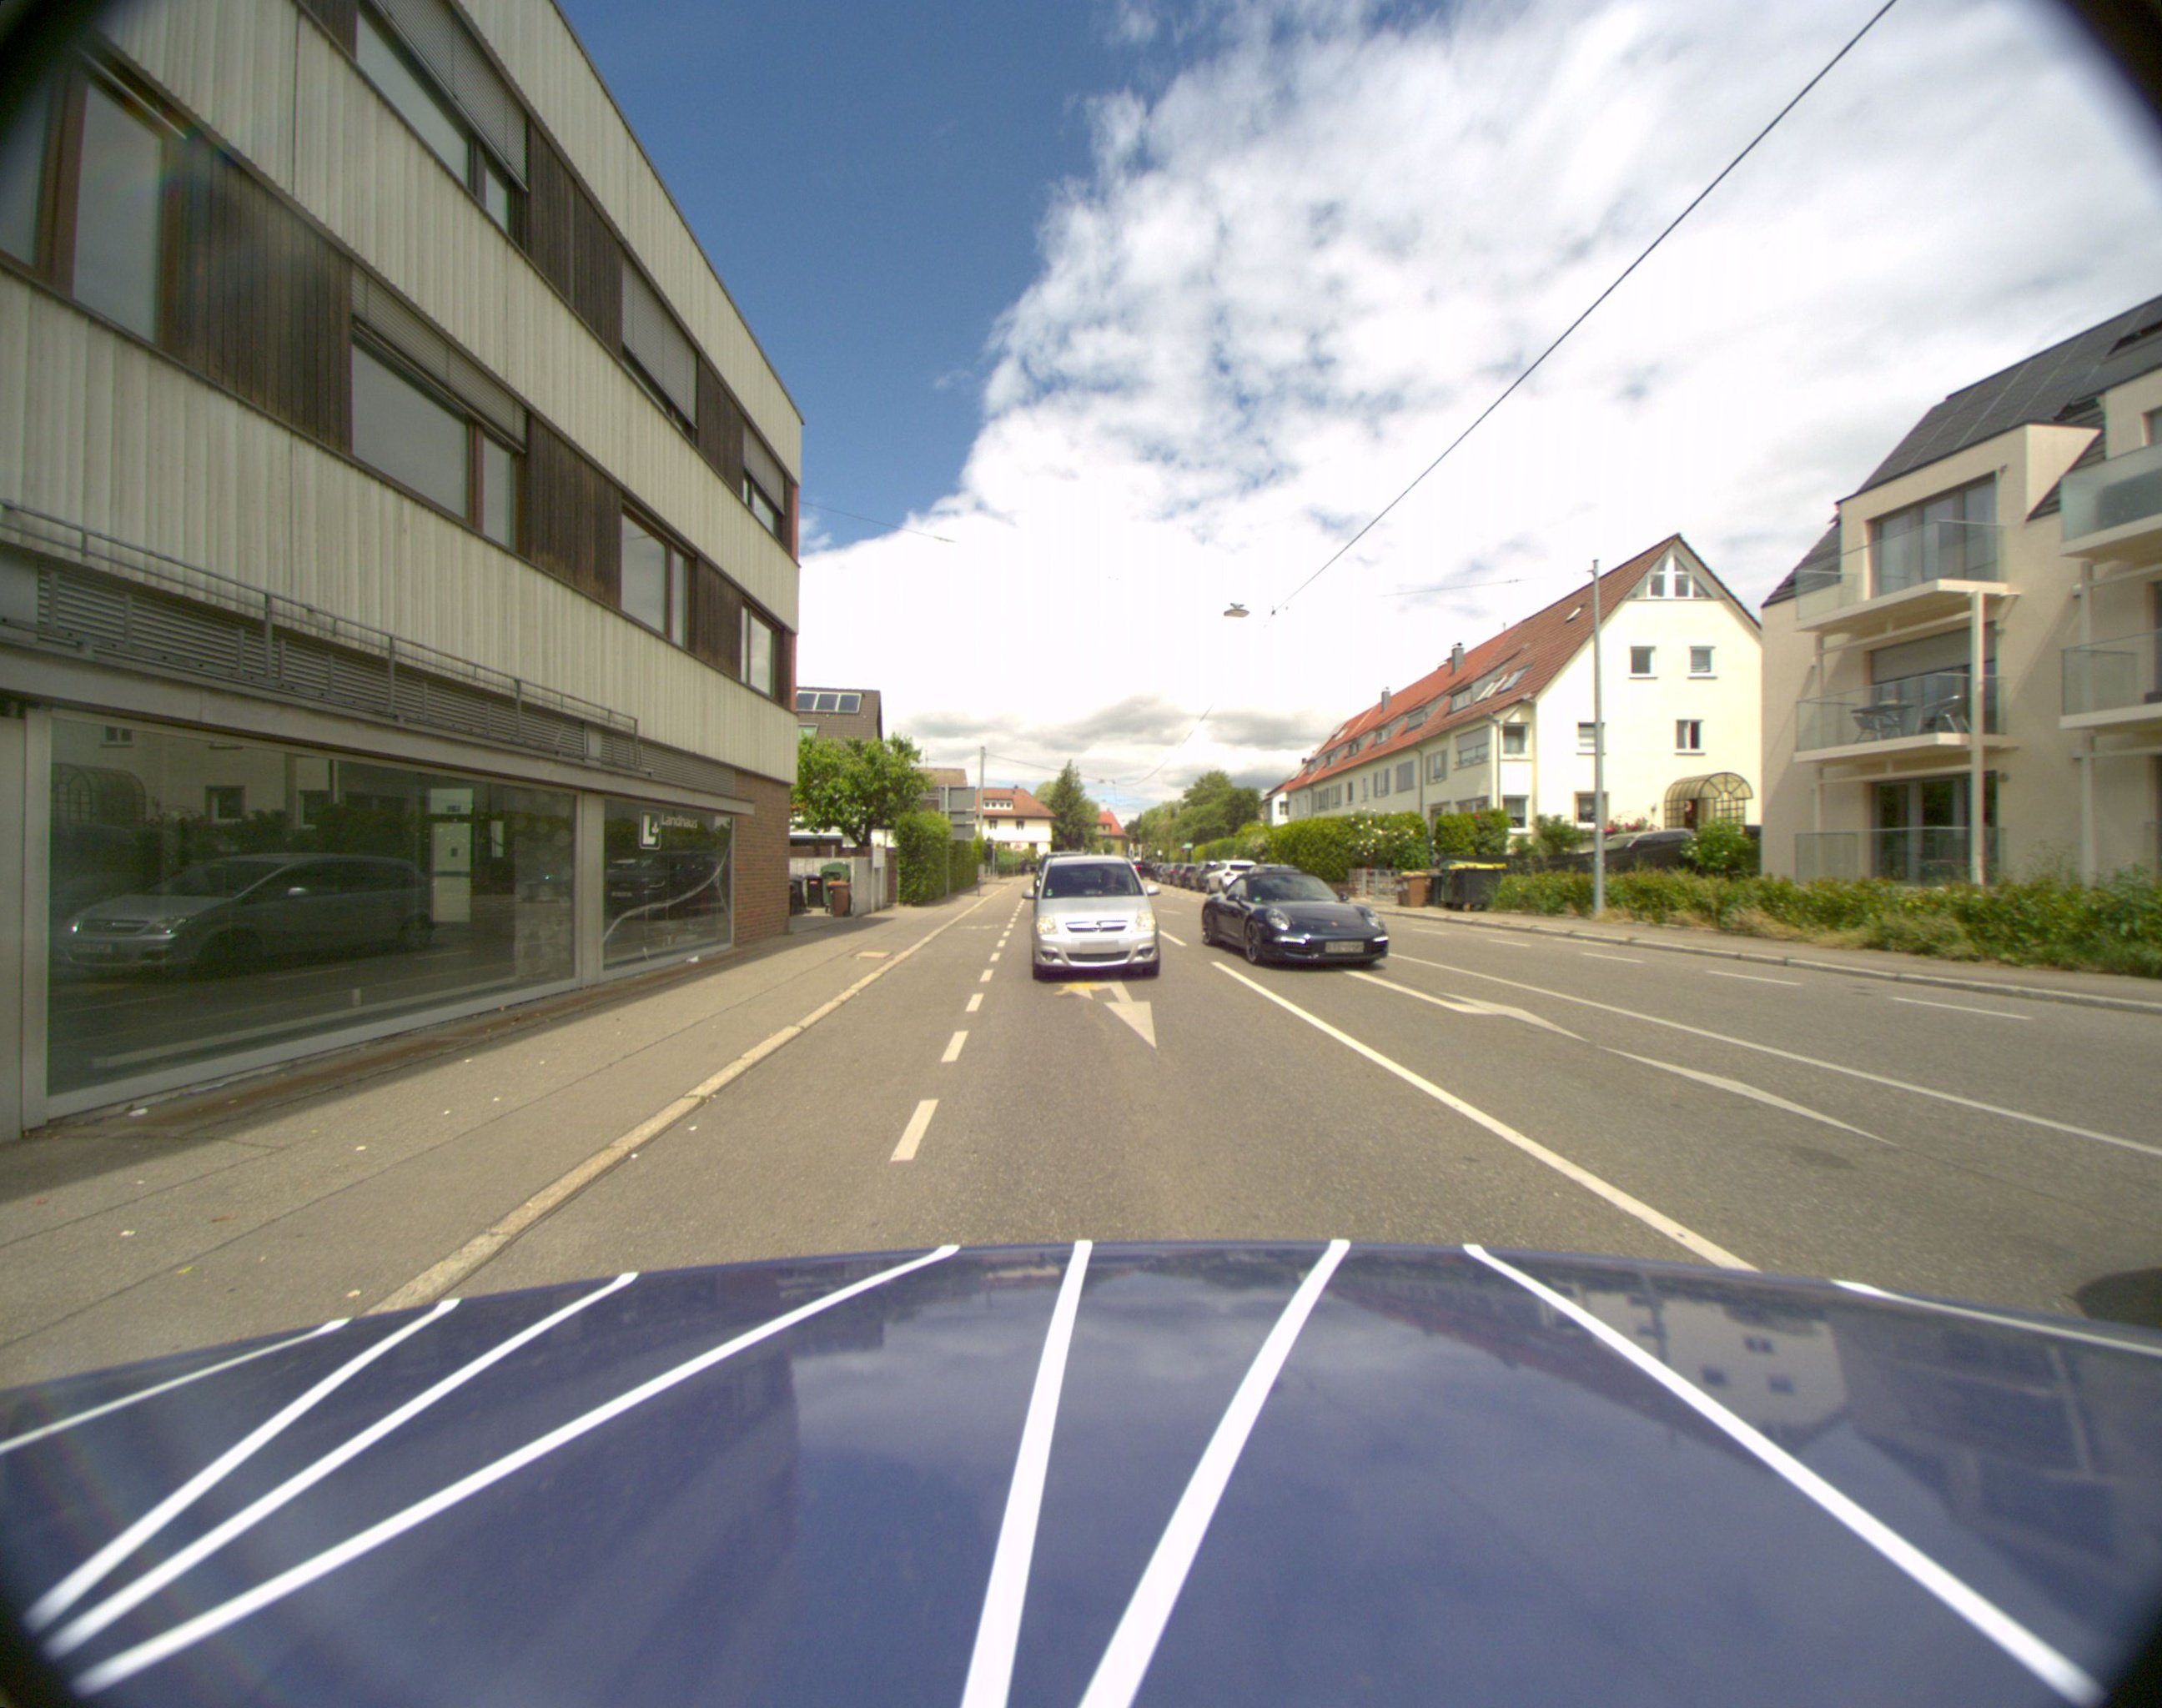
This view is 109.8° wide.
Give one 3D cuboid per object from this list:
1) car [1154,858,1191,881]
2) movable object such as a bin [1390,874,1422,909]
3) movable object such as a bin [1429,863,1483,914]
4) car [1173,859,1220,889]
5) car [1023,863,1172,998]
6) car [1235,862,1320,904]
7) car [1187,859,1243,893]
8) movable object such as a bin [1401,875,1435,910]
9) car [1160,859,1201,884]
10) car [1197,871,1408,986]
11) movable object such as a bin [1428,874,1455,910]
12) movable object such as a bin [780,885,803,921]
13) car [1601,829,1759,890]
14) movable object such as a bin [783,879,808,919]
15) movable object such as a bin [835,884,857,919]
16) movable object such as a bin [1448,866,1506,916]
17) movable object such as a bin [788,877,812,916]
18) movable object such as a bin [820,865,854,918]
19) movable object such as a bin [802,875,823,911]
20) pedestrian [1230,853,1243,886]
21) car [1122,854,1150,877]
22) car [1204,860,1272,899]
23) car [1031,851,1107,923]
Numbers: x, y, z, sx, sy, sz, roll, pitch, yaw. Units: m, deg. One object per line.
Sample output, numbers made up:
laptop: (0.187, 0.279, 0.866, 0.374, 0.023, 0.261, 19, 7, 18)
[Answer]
car: (6.725, 1.131, 56.311, 1.999, 1.623, 4.235, -1, 0, -2)
movable object such as a bin: (10.328, 1.182, 24.171, 0.763, 1.059, 0.692, -1, 0, 5)
movable object such as a bin: (11.045, 1.004, 22.403, 1.092, 1.438, 0.980, -1, 0, -2)
car: (6.864, 1.153, 45.571, 1.999, 1.623, 4.235, 2, 0, -2)
car: (0.119, 0.938, 11.137, 1.774, 1.566, 4.000, -1, 0, -2)
car: (7.542, 1.069, 29.626, 1.819, 1.492, 4.451, -1, 0, -5)
car: (6.945, 1.110, 39.861, 1.999, 1.623, 4.235, -1, 0, -2)
movable object such as a bin: (10.362, 1.180, 23.362, 0.763, 1.059, 0.692, -1, 0, 5)
car: (6.650, 1.146, 51.237, 1.999, 1.623, 4.235, -1, 0, -2)
car: (3.159, 0.992, 11.745, 1.815, 1.356, 4.043, -1, 0, -5)
movable object such as a bin: (11.058, 1.152, 23.323, 0.658, 1.059, 0.522, -1, 0, -41)
movable object such as a bin: (-7.714, 1.294, 20.228, 0.519, 0.916, 0.478, -1, 0, -26)
car: (20.956, 0.185, 26.698, 3.998, 2.002, 1.999, -1, 0, -2)
movable object such as a bin: (-7.813, 1.217, 20.789, 0.597, 1.069, 0.488, -1, 0, -26)
movable object such as a bin: (-6.290, 1.260, 20.317, 0.519, 0.916, 0.478, -1, 0, -20)
movable object such as a bin: (11.029, 1.015, 21.194, 1.092, 1.354, 0.980, -1, 0, -2)
movable object such as a bin: (-7.939, 1.186, 21.462, 0.597, 1.069, 0.488, -1, 0, -26)
movable object such as a bin: (-6.779, 1.028, 21.124, 0.810, 1.446, 0.479, -1, 0, -7)
movable object such as a bin: (-8.272, 1.186, 23.399, 0.596, 1.069, 0.488, -1, 0, -21)
pedestrian: (8.529, 0.852, 41.752, 0.533, 1.805, 0.511, -1, 0, -7)
car: (4.672, 0.988, 65.018, 1.999, 1.903, 4.069, -1, 0, 0)
car: (7.078, 1.092, 34.644, 1.999, 1.623, 4.452, -1, 0, -2)
car: (-0.476, 0.850, 22.094, 1.887, 1.838, 5.218, -1, 0, -4)
